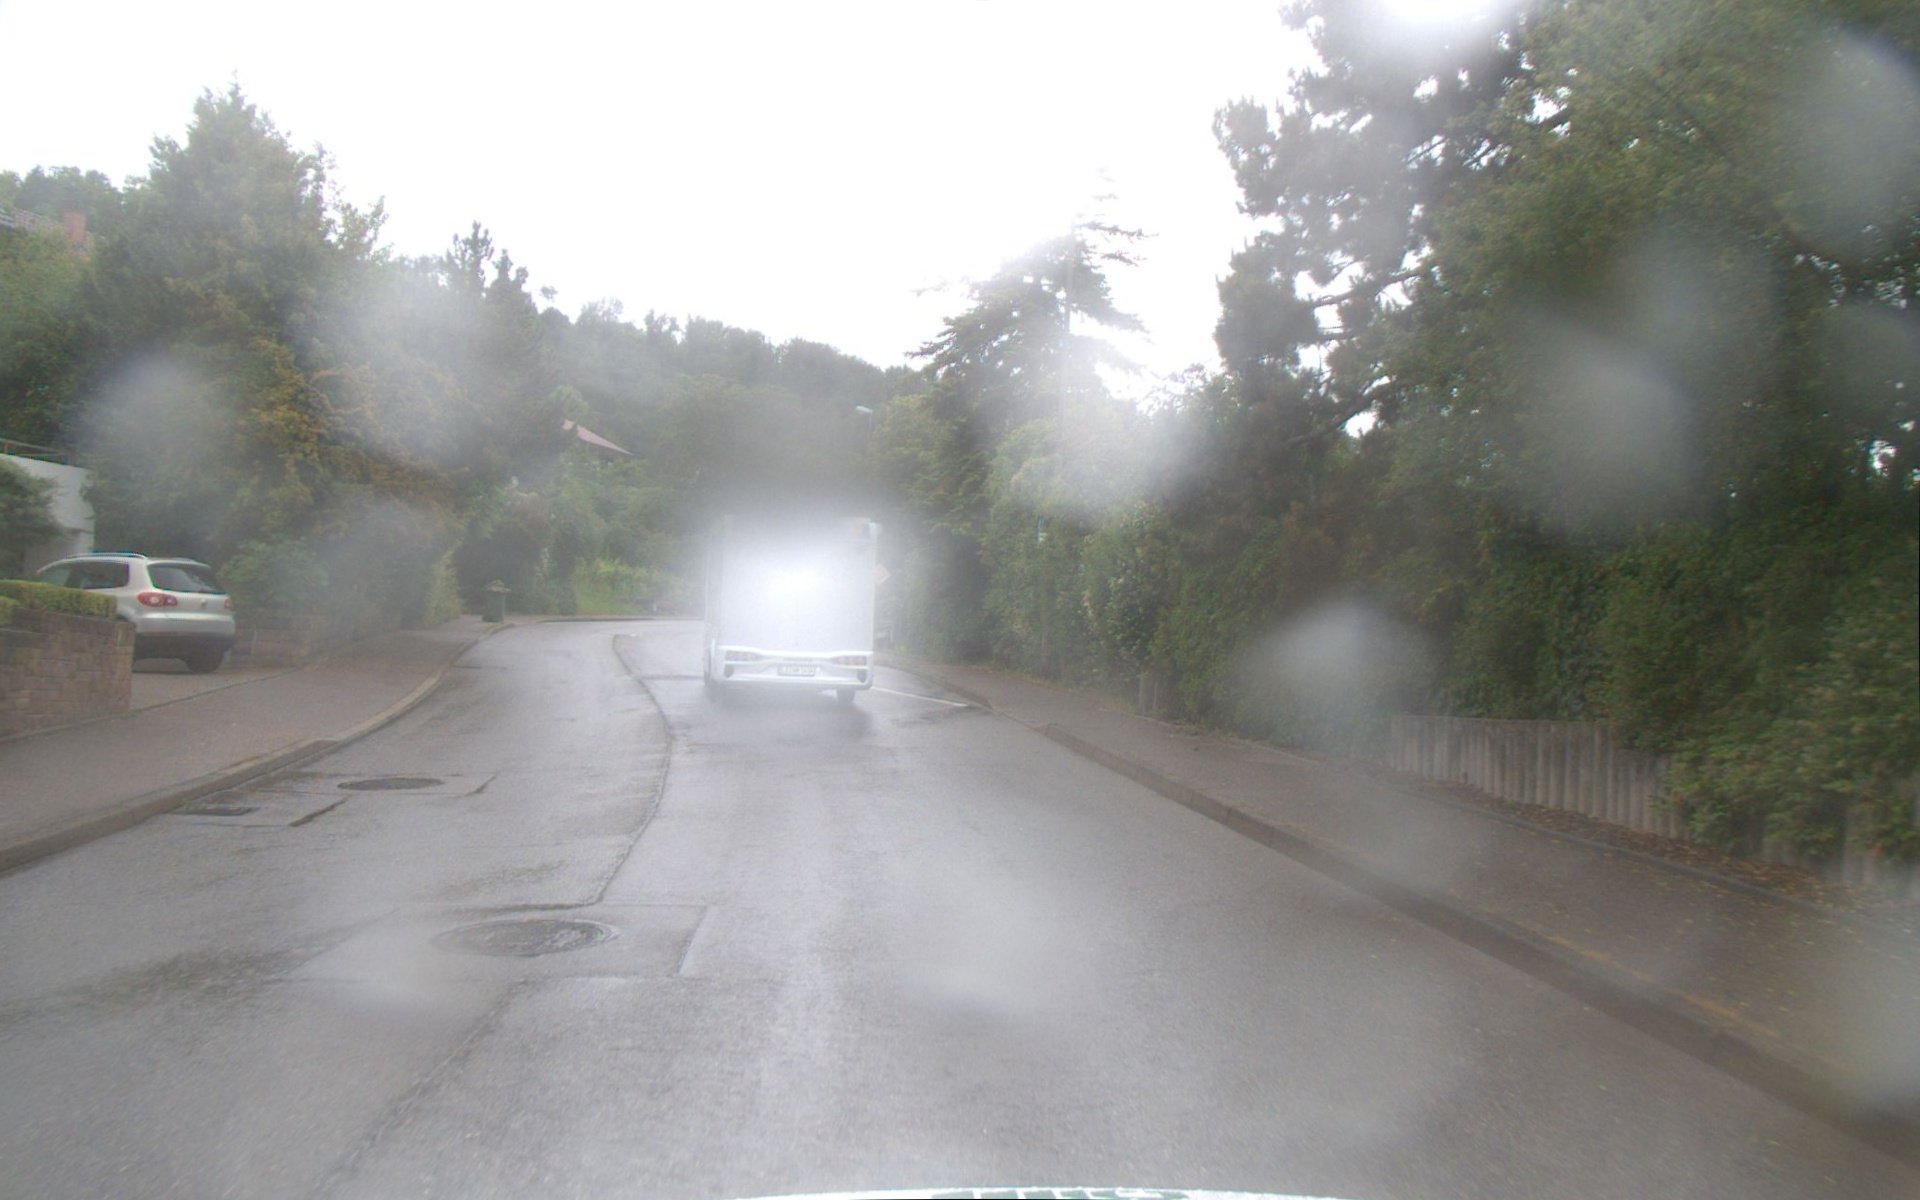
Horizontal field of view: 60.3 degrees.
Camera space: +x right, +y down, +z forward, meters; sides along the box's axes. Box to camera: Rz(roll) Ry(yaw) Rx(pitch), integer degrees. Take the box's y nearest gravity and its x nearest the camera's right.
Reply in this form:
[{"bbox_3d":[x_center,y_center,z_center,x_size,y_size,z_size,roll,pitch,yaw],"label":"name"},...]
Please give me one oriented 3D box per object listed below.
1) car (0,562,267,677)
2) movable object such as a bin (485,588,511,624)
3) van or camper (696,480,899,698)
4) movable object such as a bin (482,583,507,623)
[{"bbox_3d":[-12.529,0.323,24.707,3.852,1.612,1.863,-1,-2,23],"label":"car"},{"bbox_3d":[-15.083,0.189,54.005,0.729,1.113,0.754,3,-1,-15],"label":"movable object such as a bin"},{"bbox_3d":[-2.714,-0.070,25.978,2.569,2.903,6.015,3,-2,-10],"label":"van or camper"},{"bbox_3d":[-15.409,0.106,54.782,0.729,1.275,0.754,3,-1,-15],"label":"movable object such as a bin"}]
